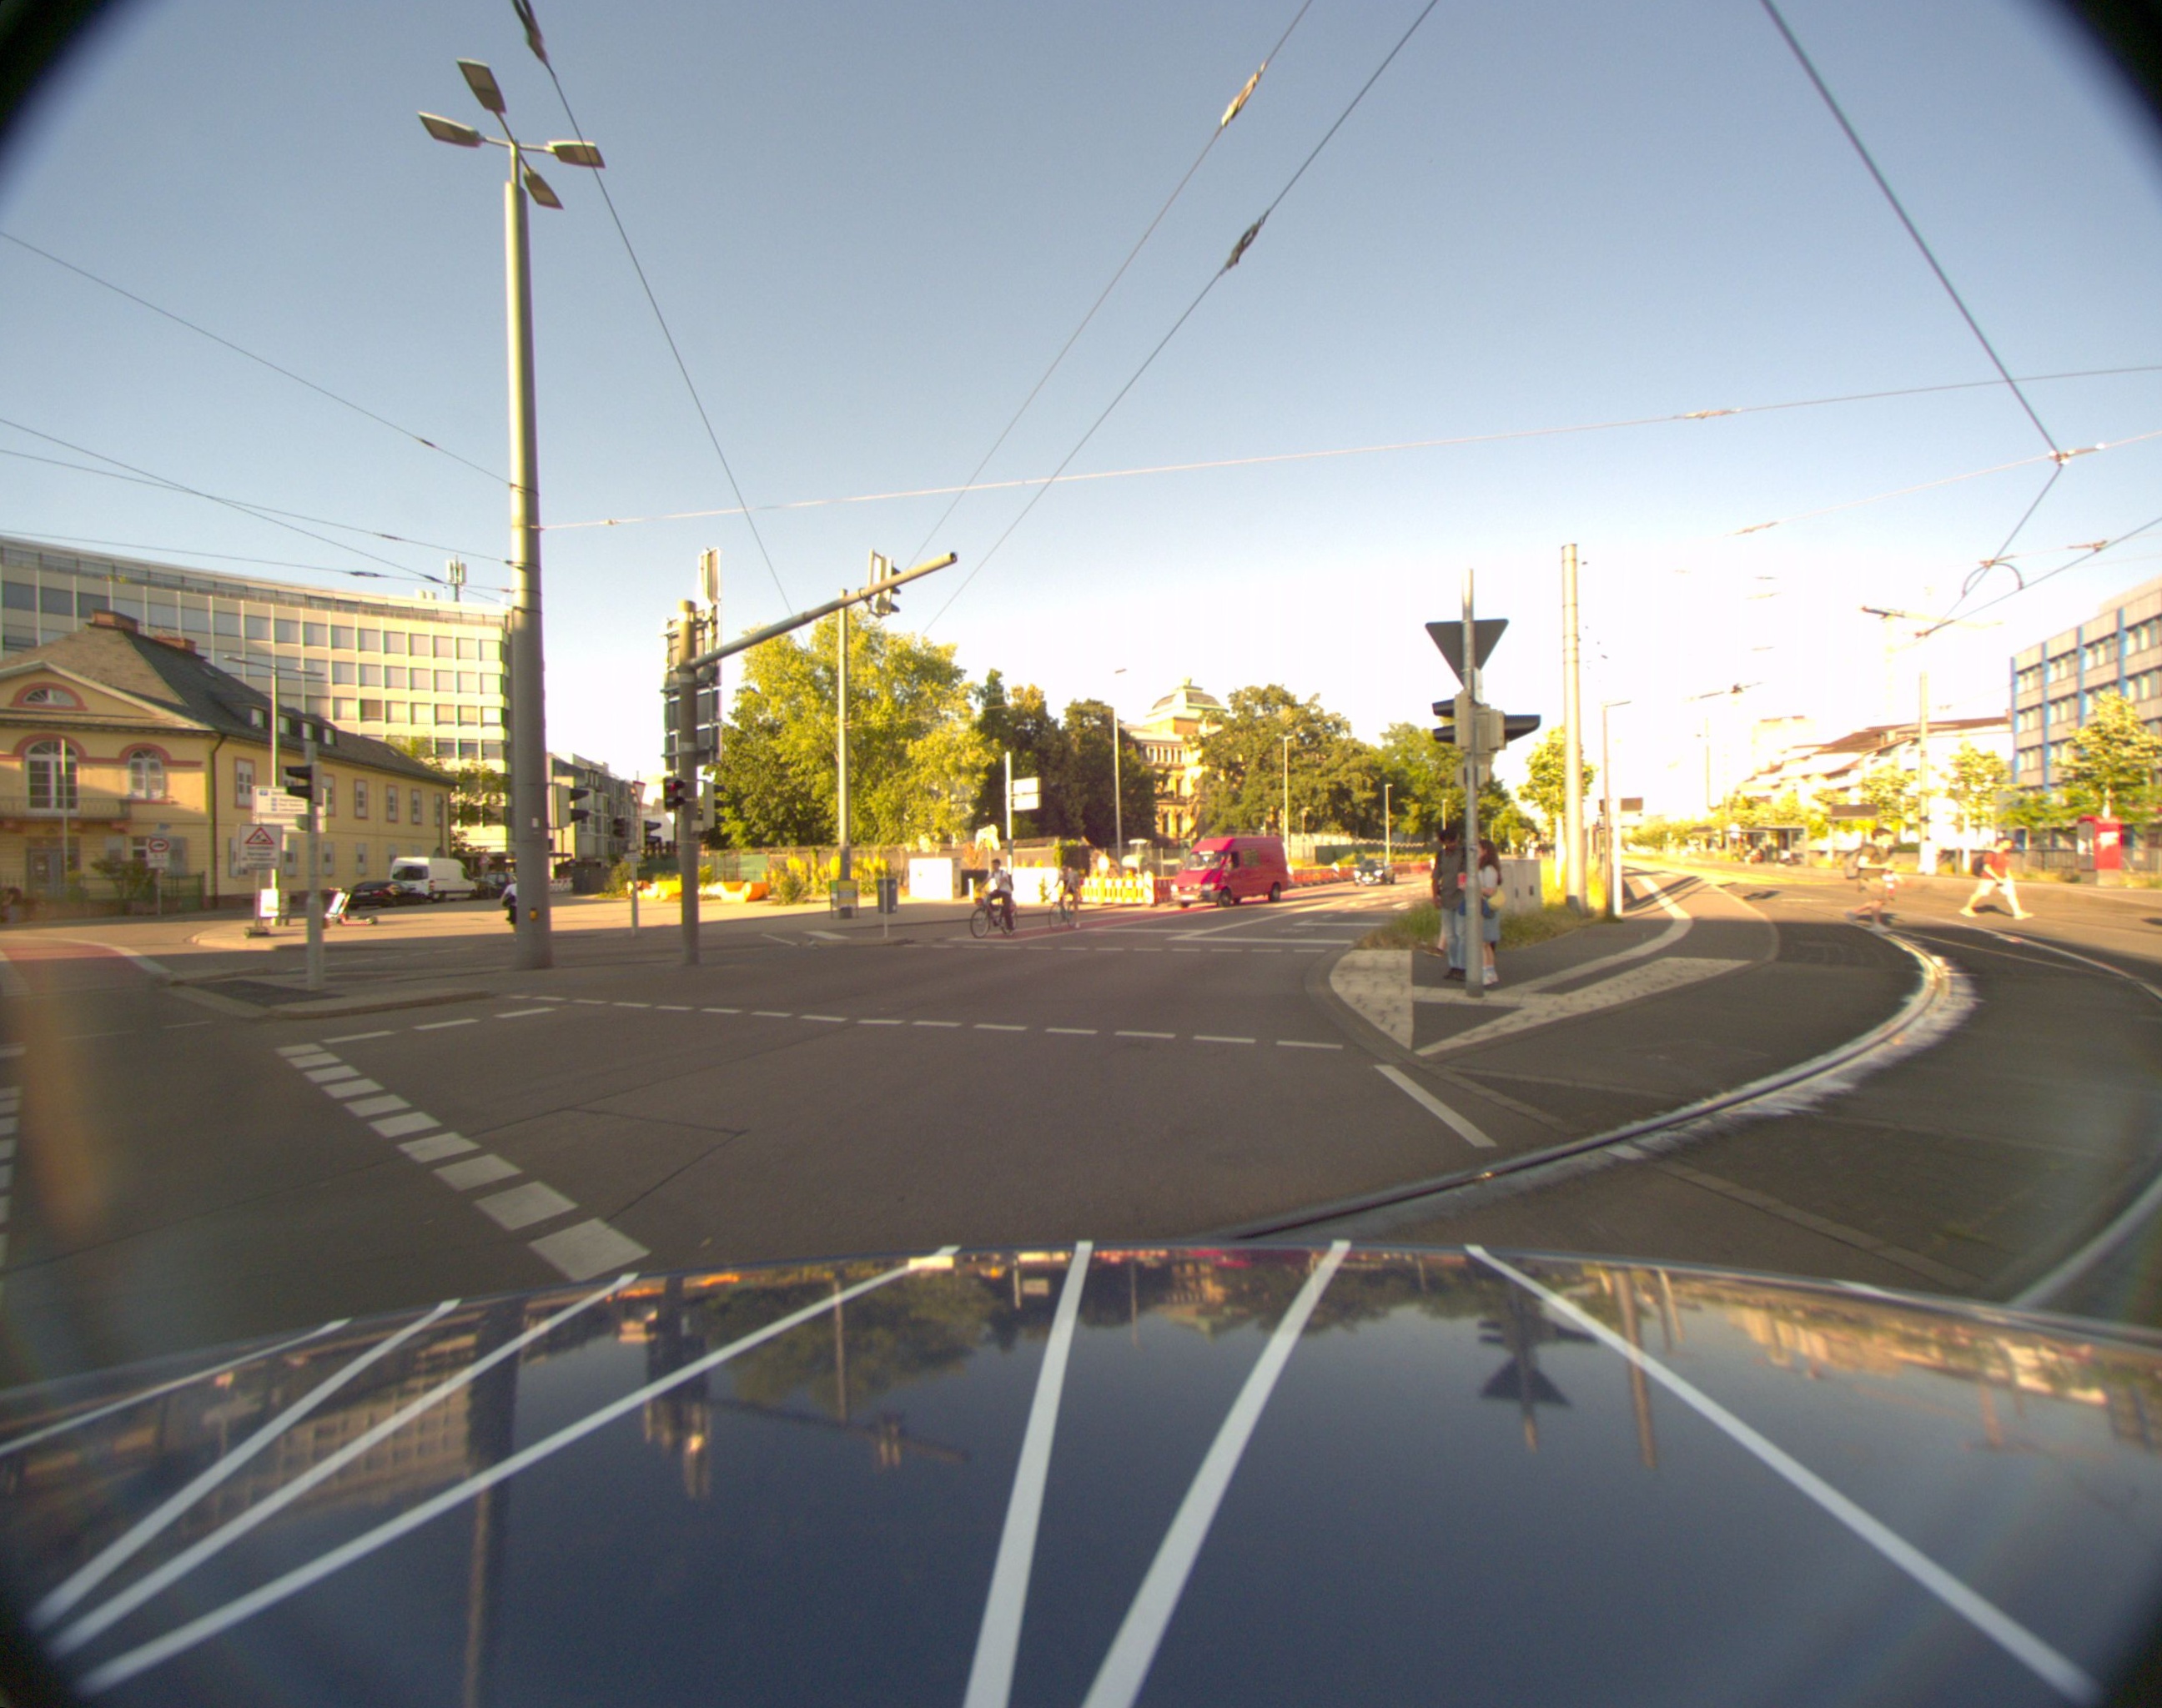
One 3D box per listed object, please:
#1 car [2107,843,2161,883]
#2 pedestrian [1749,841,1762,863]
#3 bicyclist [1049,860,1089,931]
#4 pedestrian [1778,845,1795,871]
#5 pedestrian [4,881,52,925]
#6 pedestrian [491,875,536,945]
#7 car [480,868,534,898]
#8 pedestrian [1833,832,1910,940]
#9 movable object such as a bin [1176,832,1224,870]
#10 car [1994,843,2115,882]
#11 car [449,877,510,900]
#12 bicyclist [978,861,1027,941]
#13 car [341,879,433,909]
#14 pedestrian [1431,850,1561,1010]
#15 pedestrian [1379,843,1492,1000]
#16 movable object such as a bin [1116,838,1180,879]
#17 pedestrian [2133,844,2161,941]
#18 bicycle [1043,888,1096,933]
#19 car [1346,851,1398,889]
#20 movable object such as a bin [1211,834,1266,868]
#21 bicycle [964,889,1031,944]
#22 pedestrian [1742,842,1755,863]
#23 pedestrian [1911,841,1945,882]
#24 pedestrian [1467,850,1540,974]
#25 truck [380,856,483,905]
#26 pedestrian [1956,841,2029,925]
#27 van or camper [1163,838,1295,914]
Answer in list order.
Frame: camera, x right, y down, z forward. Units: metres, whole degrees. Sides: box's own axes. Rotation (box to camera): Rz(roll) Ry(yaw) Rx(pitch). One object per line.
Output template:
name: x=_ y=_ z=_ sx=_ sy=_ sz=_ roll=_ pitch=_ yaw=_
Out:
car: x=44.348 y=0.334 z=30.826 sx=1.882 sy=1.499 sz=3.950 roll=-3 pitch=-1 yaw=32
pedestrian: x=52.798 y=-0.124 z=59.483 sx=0.658 sy=1.682 sz=0.773 roll=-3 pitch=0 yaw=38
bicyclist: x=-0.300 y=1.041 z=19.112 sx=0.614 sy=1.735 sz=0.793 roll=-3 pitch=0 yaw=27
pedestrian: x=47.356 y=0.283 z=51.017 sx=0.658 sy=1.682 sz=0.773 roll=-3 pitch=0 yaw=30
pedestrian: x=-40.533 y=1.868 z=29.254 sx=0.685 sy=1.632 sz=0.818 roll=-3 pitch=0 yaw=7
pedestrian: x=-14.857 y=1.442 z=19.879 sx=0.762 sy=1.752 sz=1.005 roll=-2 pitch=0 yaw=-44
car: x=-40.192 y=2.000 z=53.307 sx=1.715 sy=1.969 sz=3.757 roll=-2 pitch=-1 yaw=-16
pedestrian: x=14.089 y=0.562 z=13.561 sx=0.786 sy=1.853 sz=0.621 roll=-3 pitch=0 yaw=35
movable object such as a bin: x=10.907 y=-0.291 z=69.350 sx=1.995 sy=3.309 sz=5.385 roll=-3 pitch=-1 yaw=36
car: x=41.396 y=0.316 z=32.437 sx=1.882 sy=1.499 sz=3.950 roll=-3 pitch=-1 yaw=32
car: x=-38.841 y=2.191 z=49.171 sx=1.715 sy=1.356 sz=3.757 roll=-2 pitch=-1 yaw=-16
bicyclist: x=-1.794 y=1.055 z=17.409 sx=0.542 sy=1.757 sz=1.062 roll=-3 pitch=0 yaw=27
car: x=-34.961 y=1.976 z=38.409 sx=1.715 sy=1.356 sz=4.190 roll=-2 pitch=-1 yaw=-16
pedestrian: x=4.561 y=0.800 z=8.387 sx=0.900 sy=1.631 sz=0.787 roll=-2 pitch=0 yaw=-16
pedestrian: x=4.286 y=0.783 z=9.230 sx=0.901 sy=1.790 sz=0.787 roll=-1 pitch=-2 yaw=-17
movable object such as a bin: x=4.707 y=0.253 z=52.493 sx=1.995 sy=2.667 sz=5.023 roll=-3 pitch=-1 yaw=36
pedestrian: x=17.673 y=0.642 z=12.164 sx=0.787 sy=1.539 sz=0.620 roll=4 pitch=-3 yaw=2
bicycle: x=-0.268 y=1.416 z=19.214 sx=0.542 sy=0.995 sz=1.697 roll=-3 pitch=-1 yaw=27
car: x=16.674 y=0.875 z=43.419 sx=1.995 sy=2.001 sz=4.008 roll=-3 pitch=-1 yaw=31
movable object such as a bin: x=13.999 y=-0.284 z=67.195 sx=1.995 sy=2.799 sz=5.878 roll=-3 pitch=-1 yaw=42
bicycle: x=-1.860 y=1.387 z=17.222 sx=0.542 sy=1.094 sz=1.812 roll=-3 pitch=-1 yaw=27
pedestrian: x=53.993 y=-0.151 z=61.466 sx=0.658 sy=1.682 sz=0.773 roll=-3 pitch=0 yaw=35
pedestrian: x=35.279 y=0.298 z=31.652 sx=0.786 sy=1.663 sz=0.621 roll=-3 pitch=0 yaw=35
pedestrian: x=5.829 y=0.778 z=10.489 sx=0.786 sy=1.631 sz=0.621 roll=-3 pitch=0 yaw=30
truck: x=-37.137 y=1.476 z=43.687 sx=2.302 sy=2.533 sz=5.632 roll=-2 pitch=-1 yaw=-17
pedestrian: x=18.890 y=0.590 z=15.759 sx=0.786 sy=1.688 sz=0.621 roll=-3 pitch=0 yaw=35
van or camper: x=5.627 y=0.714 z=28.145 sx=1.995 sy=2.514 sz=5.926 roll=-3 pitch=-1 yaw=41
